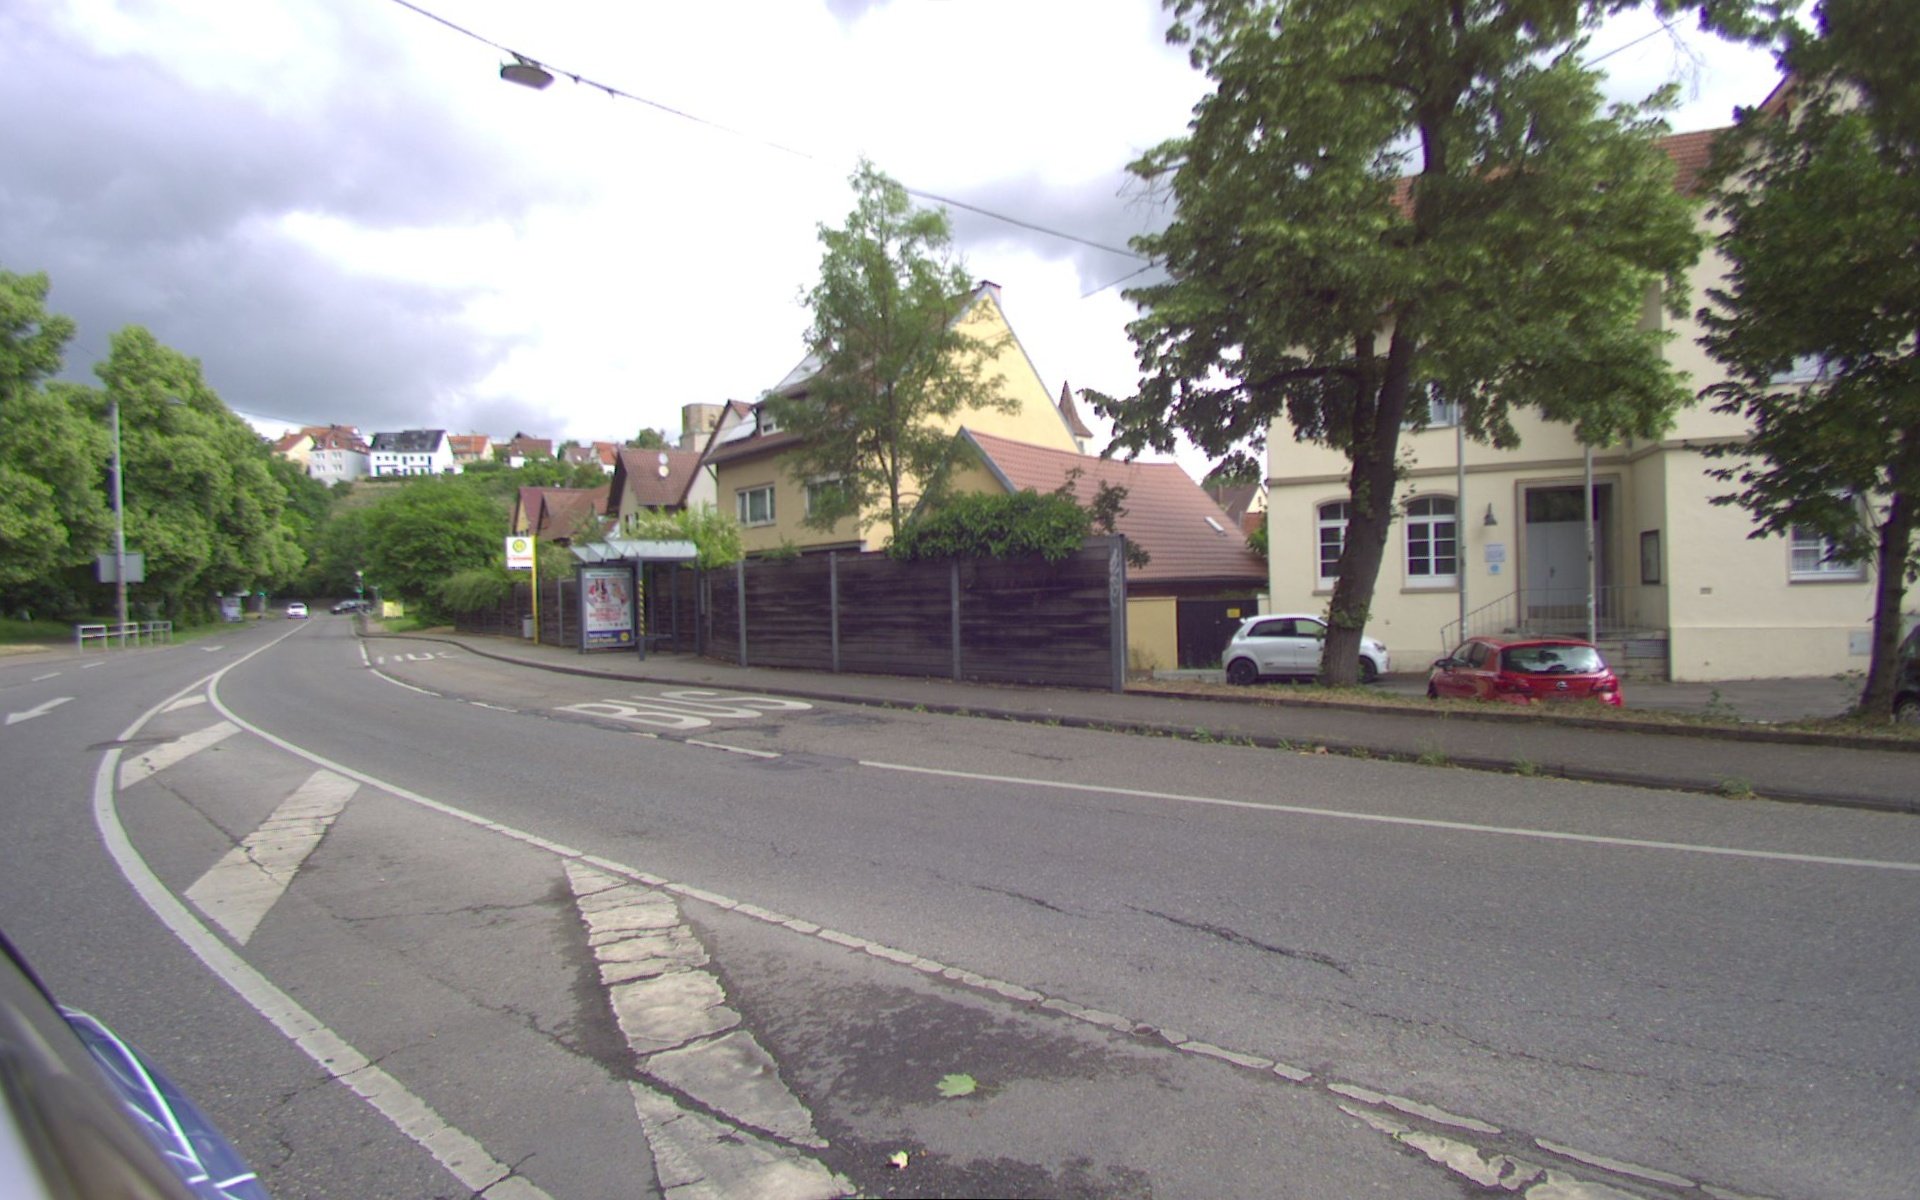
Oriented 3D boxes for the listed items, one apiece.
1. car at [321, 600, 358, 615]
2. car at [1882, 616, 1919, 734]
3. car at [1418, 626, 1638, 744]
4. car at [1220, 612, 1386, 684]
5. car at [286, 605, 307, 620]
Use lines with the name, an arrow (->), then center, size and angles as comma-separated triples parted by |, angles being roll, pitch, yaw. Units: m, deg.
car -> -70.197, 0.848, 114.540 | 1.744, 1.596, 3.675 | -1, 0, 7
car -> 12.632, 0.932, 11.313 | 1.626, 1.450, 3.567 | -1, 0, 7
car -> 8.143, 1.144, 14.887 | 1.644, 1.393, 3.708 | -1, 0, 10
car -> 7.719, 1.053, 22.895 | 3.411, 1.490, 1.600 | -1, 0, 21
car -> -68.074, 1.255, 103.848 | 1.735, 1.536, 3.693 | -1, 0, -33
